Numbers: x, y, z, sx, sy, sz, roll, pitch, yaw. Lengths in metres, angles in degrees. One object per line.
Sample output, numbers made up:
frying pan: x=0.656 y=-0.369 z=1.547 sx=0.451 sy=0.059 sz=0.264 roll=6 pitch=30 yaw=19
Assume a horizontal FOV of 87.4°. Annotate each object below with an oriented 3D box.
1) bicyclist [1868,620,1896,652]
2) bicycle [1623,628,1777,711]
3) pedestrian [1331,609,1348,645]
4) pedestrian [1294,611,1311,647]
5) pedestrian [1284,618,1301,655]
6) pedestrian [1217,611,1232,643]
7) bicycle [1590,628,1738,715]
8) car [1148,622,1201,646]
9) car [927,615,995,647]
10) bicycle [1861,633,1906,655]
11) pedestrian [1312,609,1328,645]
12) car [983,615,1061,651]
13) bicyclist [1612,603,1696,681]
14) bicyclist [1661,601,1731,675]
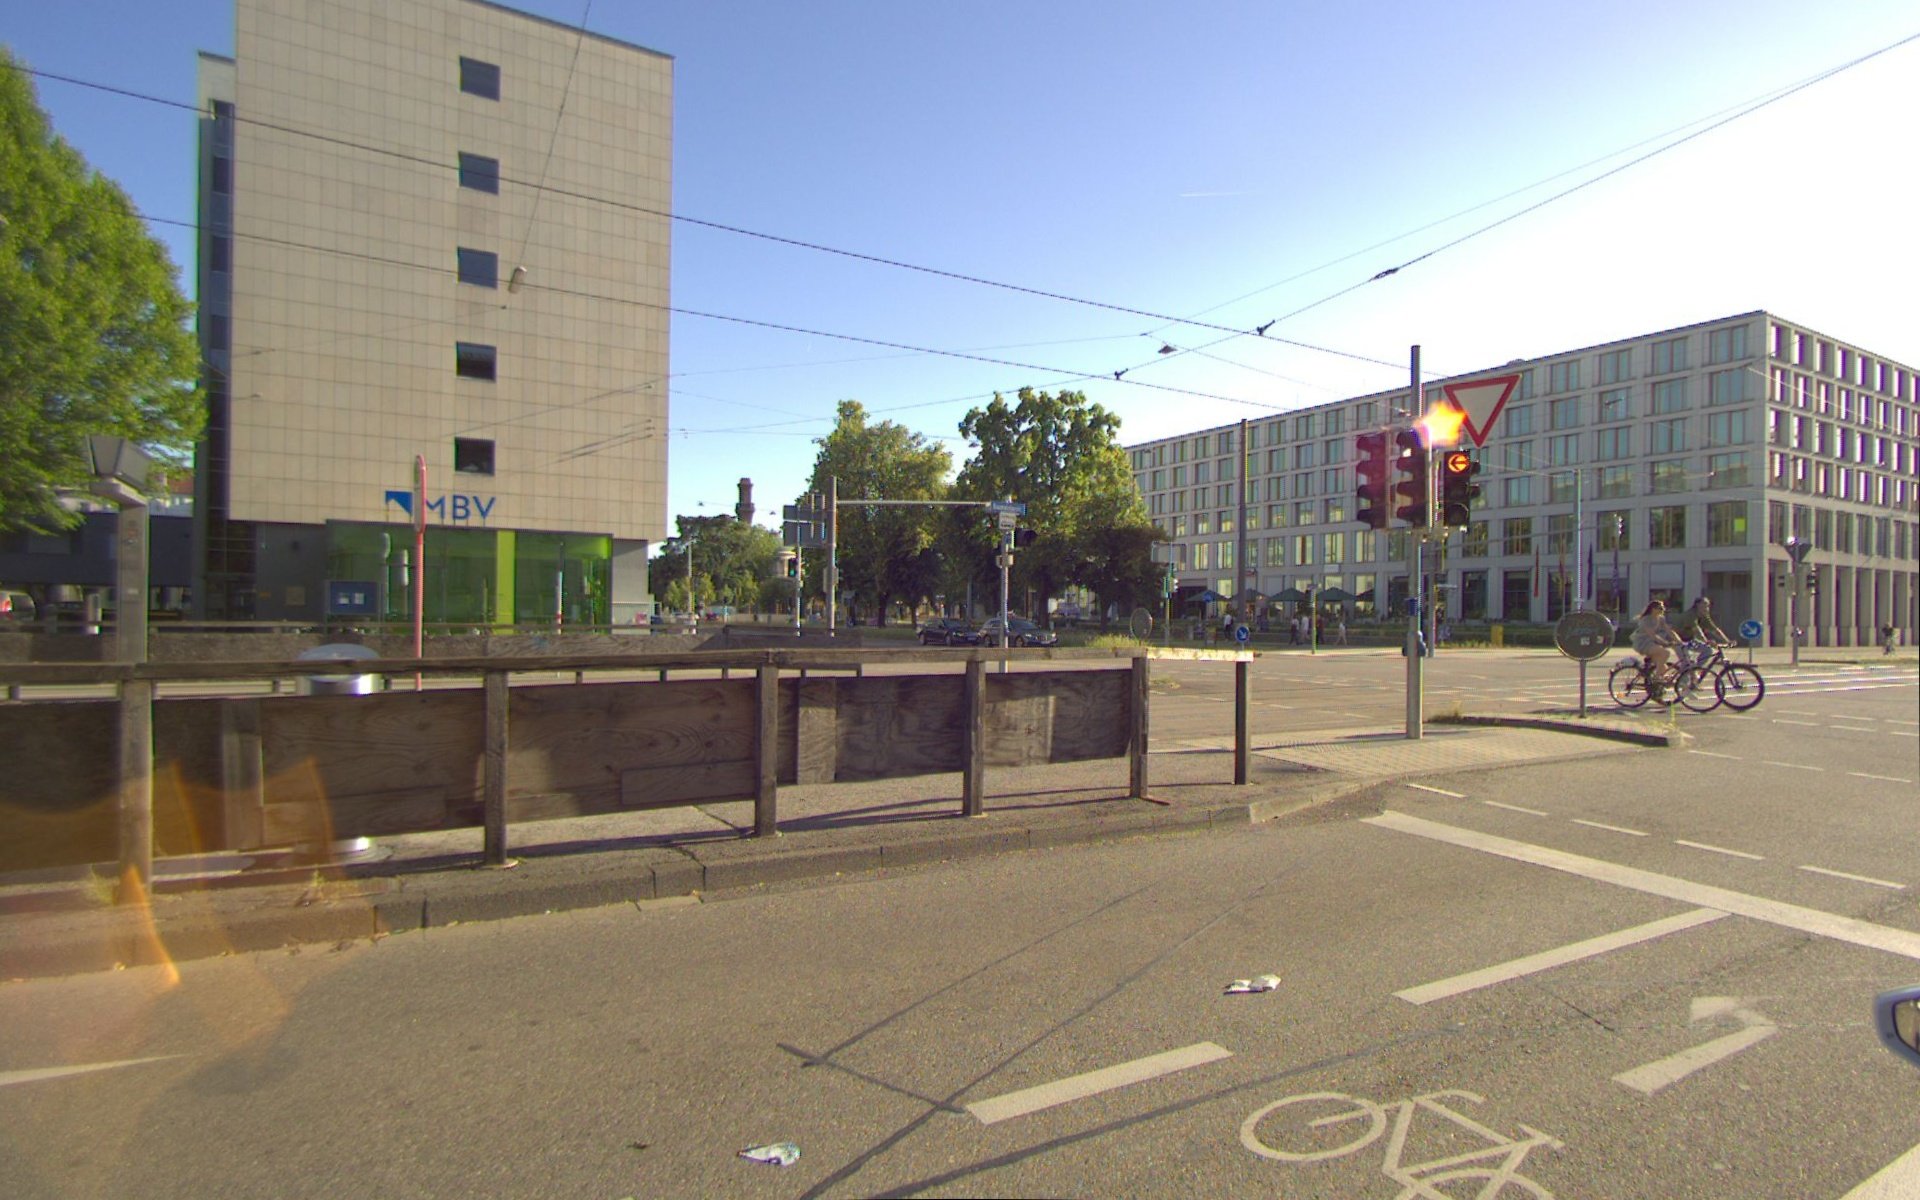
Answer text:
bicyclist: x=48.157 y=1.875 z=52.438 sx=0.812 sy=1.663 sz=0.872 roll=1 pitch=-1 yaw=-29
bicycle: x=12.573 y=1.139 z=17.123 sx=0.783 sy=1.308 sz=1.975 roll=1 pitch=-1 yaw=-31
pedestrian: x=21.207 y=1.510 z=56.158 sx=0.793 sy=2.040 sz=0.526 roll=1 pitch=-1 yaw=-36
pedestrian: x=19.354 y=1.652 z=56.789 sx=0.793 sy=2.040 sz=0.526 roll=1 pitch=-1 yaw=-36
pedestrian: x=18.584 y=2.035 z=56.179 sx=0.793 sy=2.040 sz=0.526 roll=1 pitch=-1 yaw=-36
pedestrian: x=16.105 y=1.669 z=61.226 sx=0.672 sy=1.928 sz=0.560 roll=1 pitch=-1 yaw=-21
bicycle: x=11.466 y=1.128 z=16.419 sx=0.783 sy=1.308 sz=1.840 roll=1 pitch=-1 yaw=-33
car: x=13.490 y=2.154 z=63.388 sx=1.456 sy=1.457 sz=3.165 roll=1 pitch=-1 yaw=-34
car: x=-0.008 y=1.594 z=52.556 sx=1.801 sy=1.595 sz=3.967 roll=0 pitch=0 yaw=-31
bicycle: x=48.308 y=2.291 z=52.534 sx=2.976 sy=1.136 sz=0.871 roll=1 pitch=-1 yaw=-29
pedestrian: x=20.345 y=1.535 z=56.793 sx=0.793 sy=2.040 sz=0.526 roll=1 pitch=-1 yaw=-36
car: x=2.890 y=1.527 z=47.643 sx=1.708 sy=1.595 sz=4.140 roll=1 pitch=-1 yaw=-31
bicyclist: x=11.408 y=0.671 z=16.518 sx=0.788 sy=1.235 sz=0.920 roll=1 pitch=-1 yaw=-33
bicyclist: x=12.570 y=0.643 z=17.168 sx=0.788 sy=1.235 sz=0.717 roll=1 pitch=-1 yaw=-31
